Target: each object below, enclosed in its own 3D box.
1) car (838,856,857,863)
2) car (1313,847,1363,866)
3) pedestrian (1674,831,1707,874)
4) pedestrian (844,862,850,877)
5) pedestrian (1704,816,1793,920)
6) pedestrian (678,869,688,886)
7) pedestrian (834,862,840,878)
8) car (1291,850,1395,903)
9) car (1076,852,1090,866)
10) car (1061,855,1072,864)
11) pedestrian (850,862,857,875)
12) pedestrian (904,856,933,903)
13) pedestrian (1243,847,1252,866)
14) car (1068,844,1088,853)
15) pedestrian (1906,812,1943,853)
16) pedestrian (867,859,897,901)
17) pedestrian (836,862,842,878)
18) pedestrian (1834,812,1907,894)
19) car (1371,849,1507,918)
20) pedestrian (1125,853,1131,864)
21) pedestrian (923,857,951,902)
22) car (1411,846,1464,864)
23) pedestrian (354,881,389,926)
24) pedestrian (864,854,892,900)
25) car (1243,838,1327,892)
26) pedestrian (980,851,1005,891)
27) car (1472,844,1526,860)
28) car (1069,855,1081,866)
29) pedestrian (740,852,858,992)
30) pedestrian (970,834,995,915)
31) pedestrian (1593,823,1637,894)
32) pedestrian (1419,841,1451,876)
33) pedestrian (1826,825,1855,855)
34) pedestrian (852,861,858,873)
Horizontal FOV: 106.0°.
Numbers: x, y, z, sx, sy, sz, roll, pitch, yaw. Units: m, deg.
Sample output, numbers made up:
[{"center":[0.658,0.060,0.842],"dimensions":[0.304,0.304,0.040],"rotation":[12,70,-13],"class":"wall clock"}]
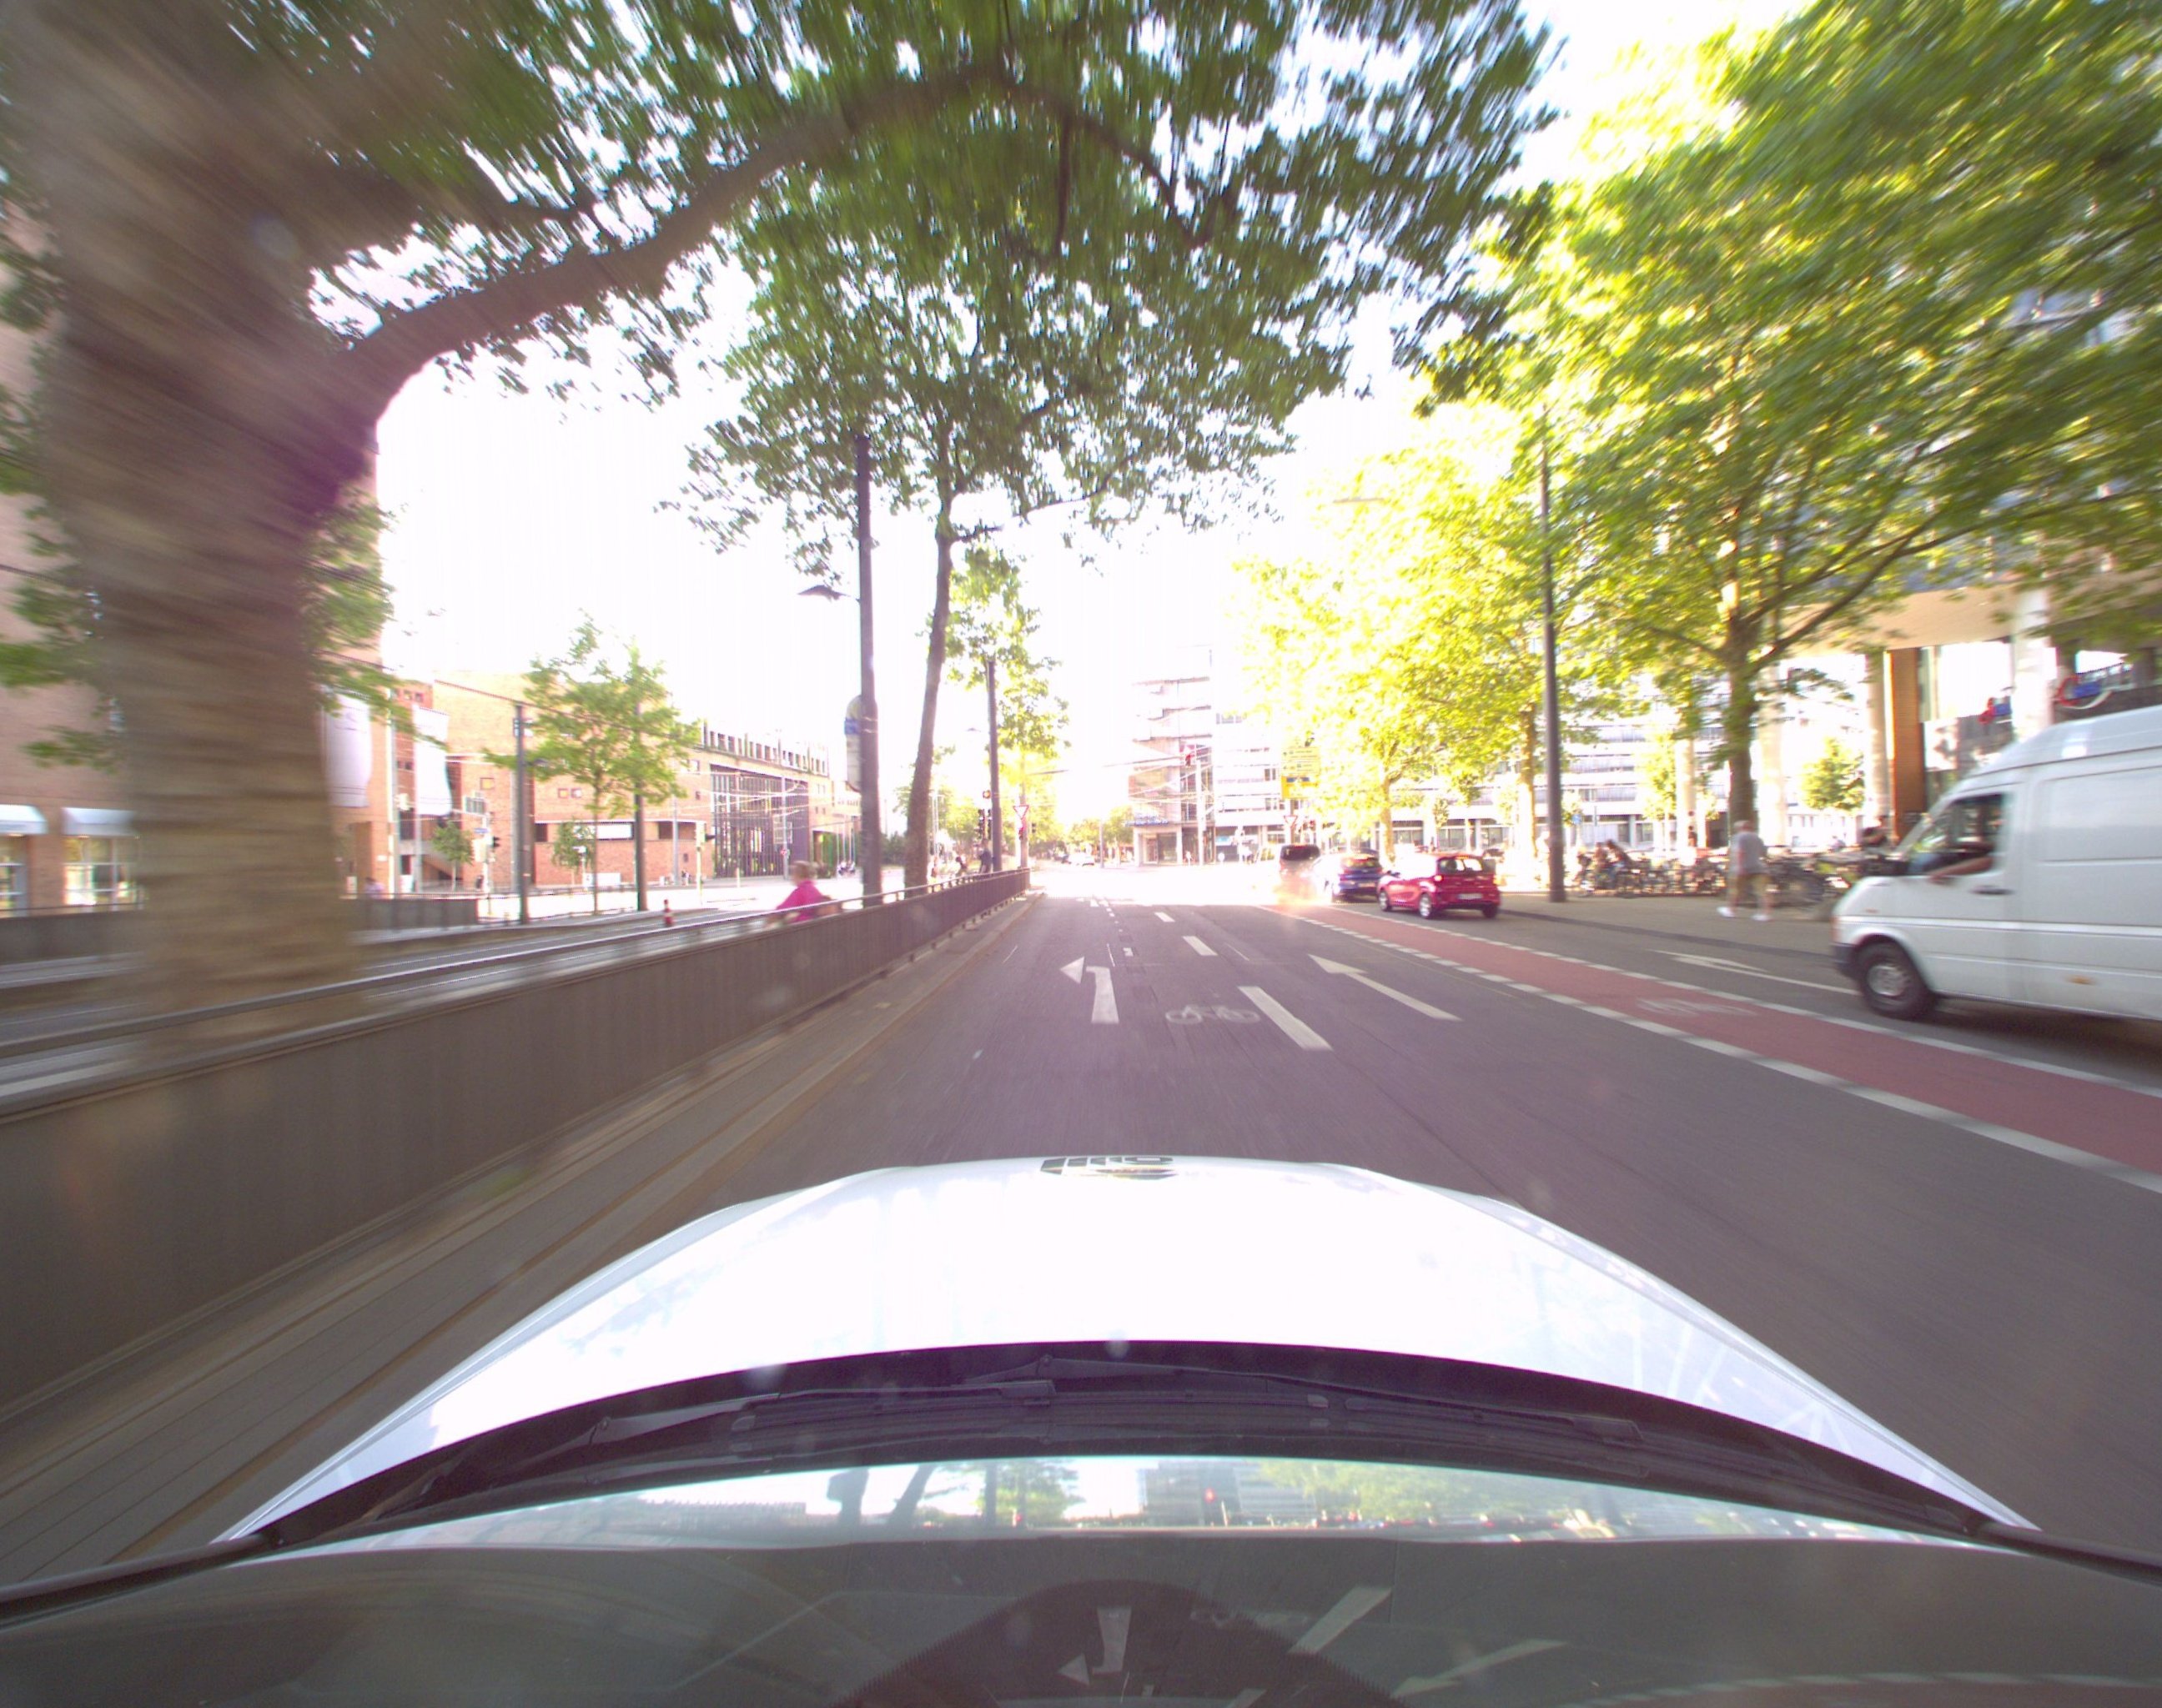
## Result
[{"center":[-55.634,1.351,193.801],"dimensions":[4.014,1.552,1.590],"rotation":[0,-1,-33],"class":"car"},{"center":[24.710,0.227,78.320],"dimensions":[4.221,1.602,1.797],"rotation":[-2,0,4],"class":"car"},{"center":[26.706,-0.062,35.701],"dimensions":[0.851,1.820,0.859],"rotation":[0,-1,-29],"class":"pedestrian"},{"center":[-25.439,1.701,88.585],"dimensions":[0.538,1.650,0.621],"rotation":[-2,0,-20],"class":"pedestrian"},{"center":[11.982,0.237,14.648],"dimensions":[0.869,1.786,0.808],"rotation":[-2,0,-2],"class":"pedestrian"},{"center":[-37.792,2.207,77.292],"dimensions":[0.538,1.613,0.574],"rotation":[-2,-1,29],"class":"pedestrian"},{"center":[-26.315,1.702,87.824],"dimensions":[0.538,1.650,0.621],"rotation":[-2,0,-20],"class":"pedestrian"},{"center":[8.179,0.657,25.838],"dimensions":[1.760,1.464,4.213],"rotation":[-2,0,-2],"class":"car"},{"center":[0.302,0.706,120.162],"dimensions":[1.988,1.991,3.998],"rotation":[-2,0,-1],"class":"car"},{"center":[-2.864,1.043,157.227],"dimensions":[1.988,1.662,3.998],"rotation":[-2,0,-1],"class":"car"},{"center":[-25.532,1.618,91.413],"dimensions":[0.754,1.530,0.506],"rotation":[0,-1,-9],"class":"pedestrian"},{"center":[-6.776,1.049,33.975],"dimensions":[1.144,1.894,0.830],"rotation":[-1,-1,-9],"class":"pedestrian"},{"center":[15.044,0.202,73.526],"dimensions":[0.716,1.682,0.558],"rotation":[-1,-1,6],"class":"pedestrian"},{"center":[-0.605,-1.188,170.585],"dimensions":[3.735,1.750,1.788],"rotation":[0,-1,13],"class":"car"},{"center":[35.192,-0.886,33.997],"dimensions":[0.772,1.641,0.705],"rotation":[-2,0,-6],"class":"pedestrian"},{"center":[-8.089,1.039,33.147],"dimensions":[1.072,1.682,0.755],"rotation":[-1,-1,-9],"class":"pedestrian"},{"center":[-26.559,1.747,89.274],"dimensions":[0.538,1.650,0.621],"rotation":[-2,0,-20],"class":"pedestrian"},{"center":[17.610,-0.018,18.186],"dimensions":[0.814,1.757,0.772],"rotation":[-2,0,4],"class":"pedestrian"},{"center":[8.362,0.644,19.371],"dimensions":[1.554,1.464,3.619],"rotation":[-1,0,-1],"class":"car"},{"center":[6.375,0.561,110.116],"dimensions":[0.737,1.465,0.536],"rotation":[-2,0,-3],"class":"pedestrian"},{"center":[-5.871,1.032,33.278],"dimensions":[1.071,1.806,0.755],"rotation":[-1,-1,-9],"class":"pedestrian"},{"center":[33.673,0.087,77.053],"dimensions":[4.221,1.560,1.798],"rotation":[-2,0,4],"class":"car"},{"center":[-25.625,1.780,29.436],"dimensions":[0.588,1.584,0.725],"rotation":[1,-1,-3],"class":"pedestrian"},{"center":[-8.437,0.960,33.859],"dimensions":[1.073,1.871,0.736],"rotation":[-1,-1,-9],"class":"pedestrian"},{"center":[7.998,0.410,32.447],"dimensions":[1.988,1.966,5.135],"rotation":[0,0,-1],"class":"car"},{"center":[-3.857,0.741,35.568],"dimensions":[1.071,1.715,0.627],"rotation":[-1,-1,-5],"class":"pedestrian"},{"center":[39.578,-0.175,77.185],"dimensions":[4.219,1.392,1.798],"rotation":[-2,0,5],"class":"car"},{"center":[-0.996,1.087,135.667],"dimensions":[1.988,1.662,3.998],"rotation":[-2,0,-1],"class":"car"},{"center":[-2.911,0.684,8.476],"dimensions":[0.972,1.400,0.665],"rotation":[0,-1,3],"class":"pedestrian"},{"center":[-2.367,0.493,19.564],"dimensions":[0.508,1.900,0.759],"rotation":[0,-1,0],"class":"pedestrian"},{"center":[13.806,0.107,21.079],"dimensions":[0.798,1.786,0.661],"rotation":[-2,0,25],"class":"pedestrian"},{"center":[19.091,0.243,43.928],"dimensions":[1.207,1.822,1.039],"rotation":[0,-1,-7],"class":"pedestrian"},{"center":[38.368,-0.695,41.130],"dimensions":[0.702,1.442,0.776],"rotation":[-2,0,1],"class":"pedestrian"},{"center":[-34.577,2.021,124.459],"dimensions":[0.638,1.810,0.546],"rotation":[-2,-1,5],"class":"pedestrian"}]
